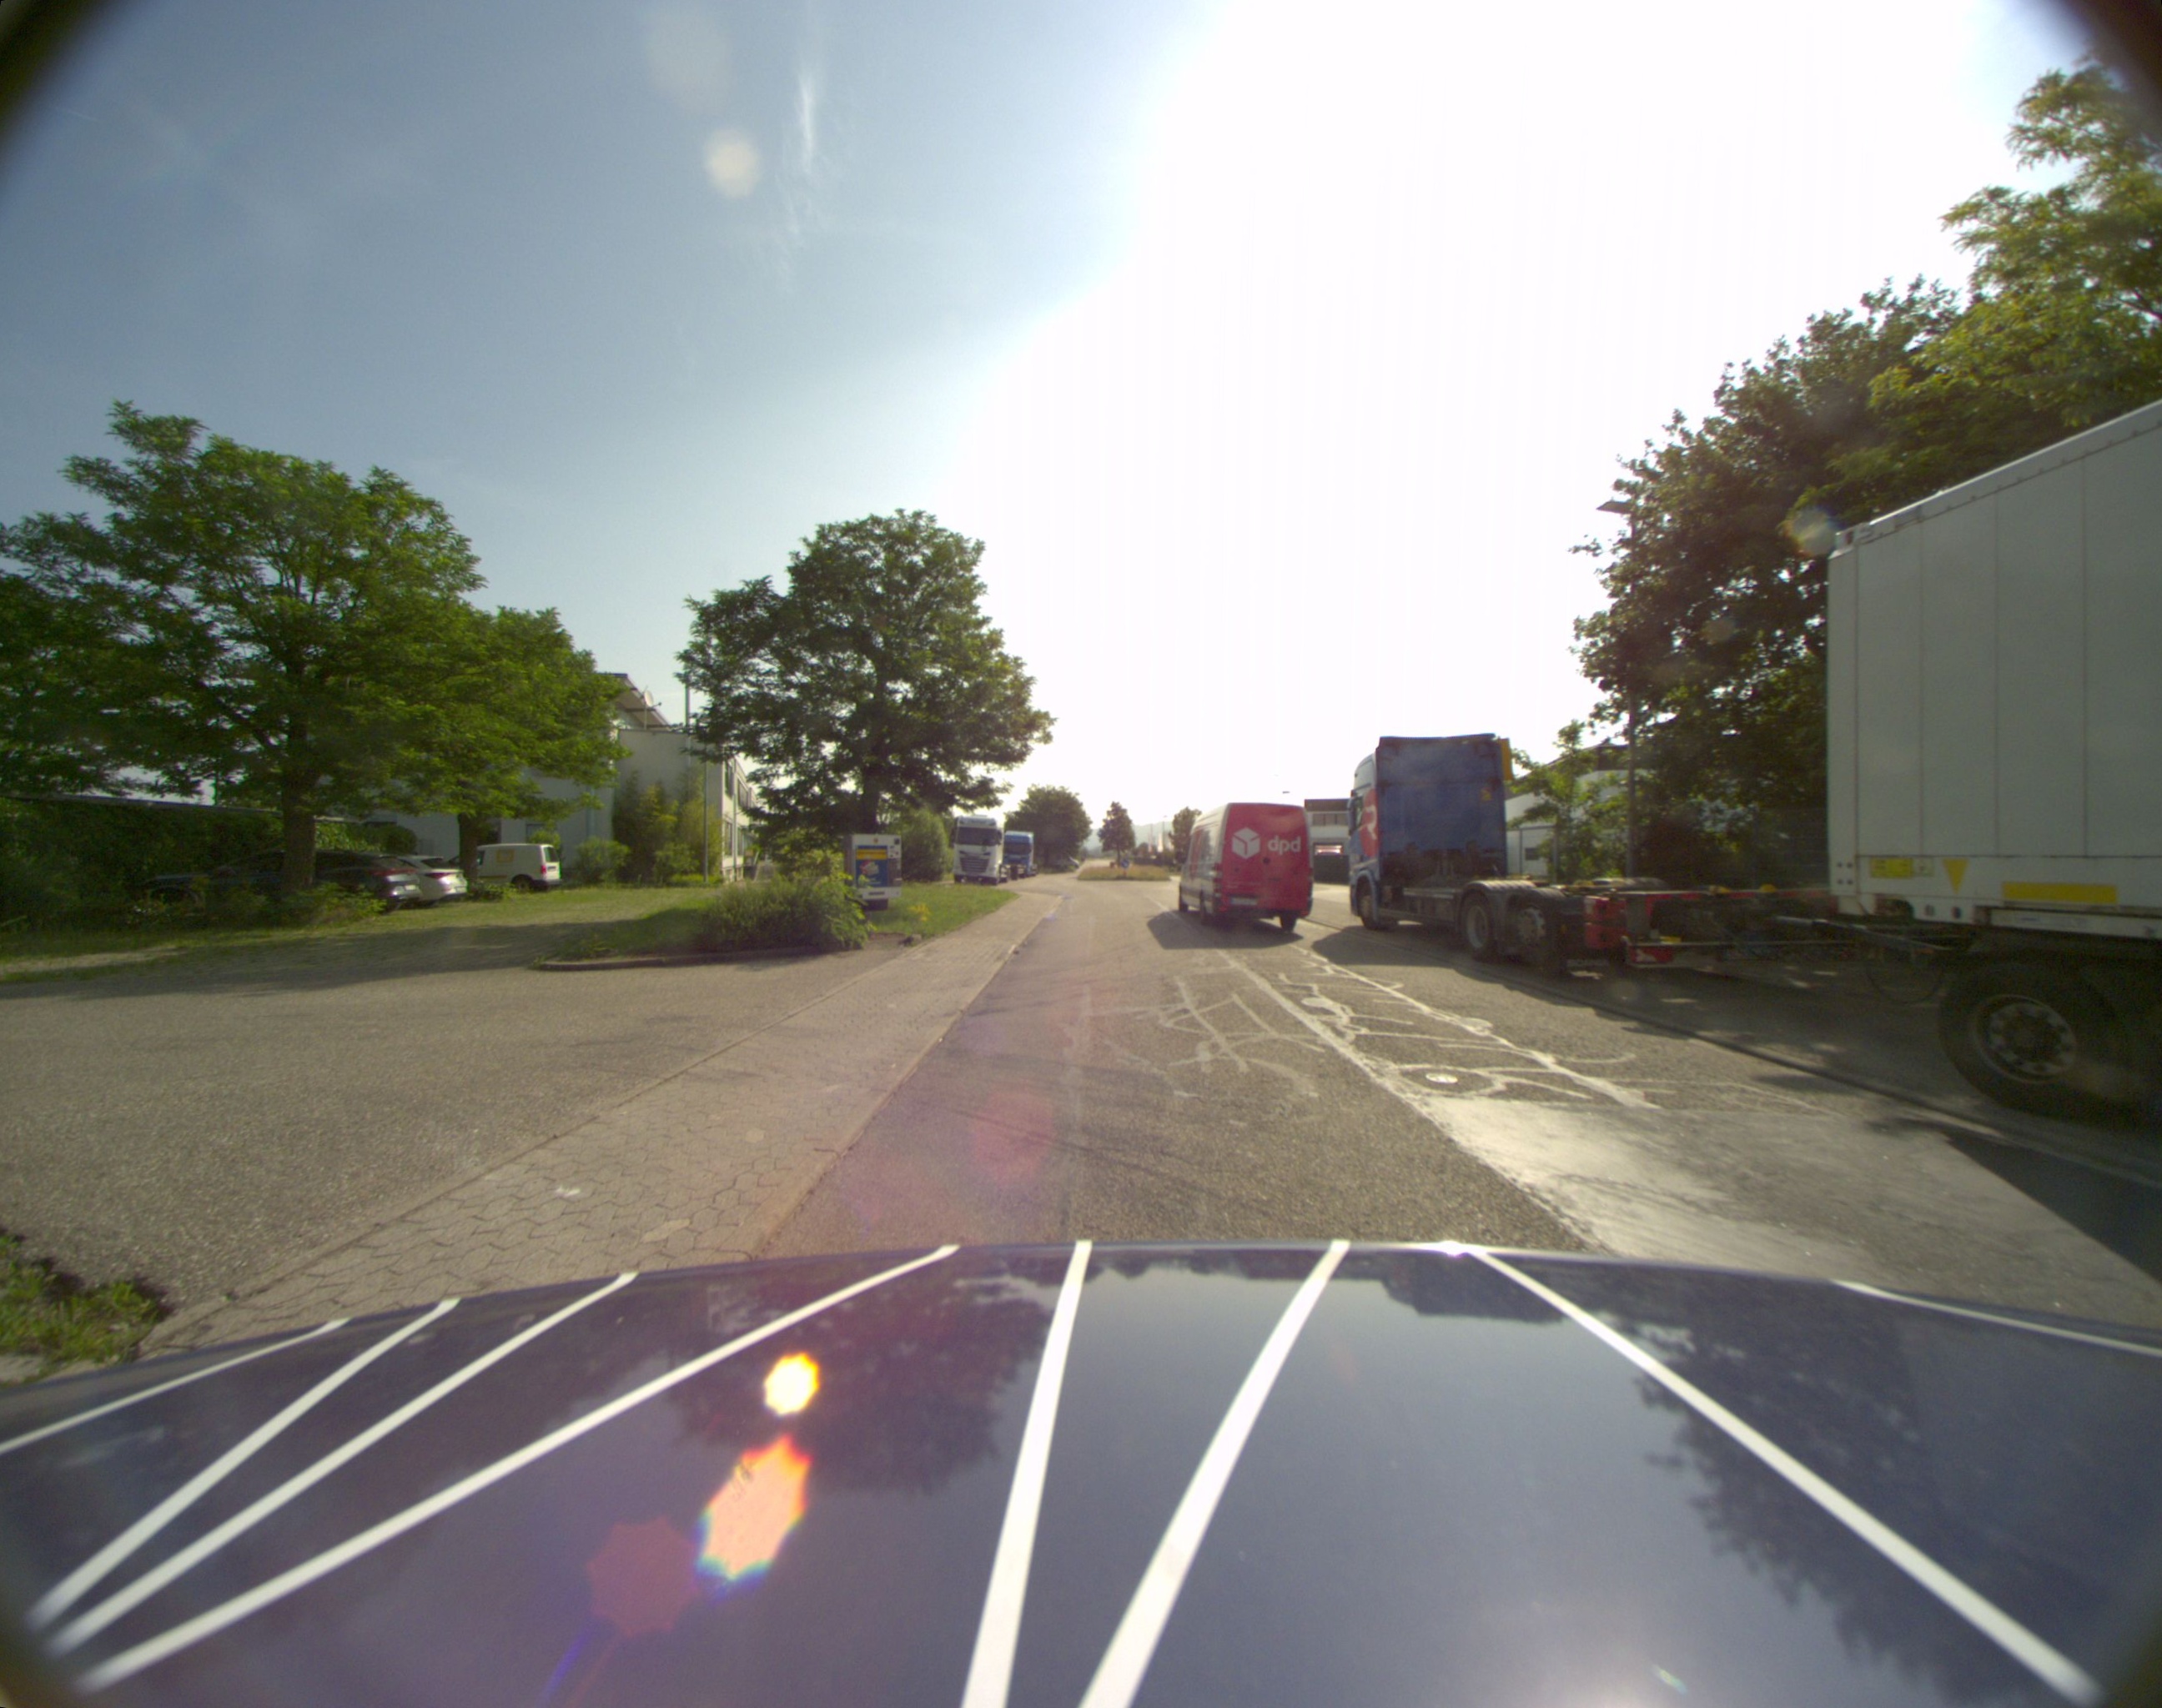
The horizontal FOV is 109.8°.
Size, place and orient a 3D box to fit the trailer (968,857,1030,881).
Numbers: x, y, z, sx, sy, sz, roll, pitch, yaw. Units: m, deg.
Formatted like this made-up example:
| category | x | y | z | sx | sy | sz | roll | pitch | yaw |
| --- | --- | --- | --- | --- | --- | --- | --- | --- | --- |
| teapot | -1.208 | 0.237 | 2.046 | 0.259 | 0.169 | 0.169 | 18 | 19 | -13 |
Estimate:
| category | x | y | z | sx | sy | sz | roll | pitch | yaw |
| --- | --- | --- | --- | --- | --- | --- | --- | --- | --- |
| trailer | -5.494 | 0.944 | 53.446 | 2.553 | 1.383 | 14.136 | 1 | 0 | 1 |

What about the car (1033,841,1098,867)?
| category | x | y | z | sx | sy | sz | roll | pitch | yaw |
| --- | --- | --- | --- | --- | --- | --- | --- | --- | --- |
| car | -2.029 | -0.014 | 96.819 | 8.151 | 3.217 | 2.663 | -1 | 0 | -4 |

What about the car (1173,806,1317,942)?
| category | x | y | z | sx | sy | sz | roll | pitch | yaw |
| --- | --- | --- | --- | --- | --- | --- | --- | --- | --- |
| car | 3.545 | 0.389 | 17.959 | 1.998 | 2.532 | 6.990 | 1 | 0 | 2 |

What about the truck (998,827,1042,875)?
| category | x | y | z | sx | sy | sz | roll | pitch | yaw |
| --- | --- | --- | --- | --- | --- | --- | --- | --- | --- |
| truck | -5.310 | -0.178 | 67.822 | 3.043 | 3.916 | 10.578 | 1 | 0 | 0 |

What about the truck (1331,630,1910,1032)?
| category | x | y | z | sx | sy | sz | roll | pitch | yaw |
| --- | --- | --- | --- | --- | --- | --- | --- | --- | --- |
| truck | 6.818 | -0.218 | 12.201 | 2.719 | 3.861 | 9.637 | -1 | 0 | 2 |

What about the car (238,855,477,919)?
| category | x | y | z | sx | sy | sz | roll | pitch | yaw |
| --- | --- | --- | --- | --- | --- | --- | --- | --- | --- |
| car | -18.428 | 0.796 | 19.594 | 4.045 | 1.397 | 1.739 | -2 | 1 | -19 |

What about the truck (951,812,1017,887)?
| category | x | y | z | sx | sy | sz | roll | pitch | yaw |
| --- | --- | --- | --- | --- | --- | --- | --- | --- | --- |
| truck | -5.613 | -0.246 | 45.600 | 2.559 | 3.958 | 8.581 | 2 | 0 | 1 |

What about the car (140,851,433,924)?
| category | x | y | z | sx | sy | sz | roll | pitch | yaw |
| --- | --- | --- | --- | --- | --- | --- | --- | --- | --- |
| car | -17.103 | 0.700 | 16.632 | 4.045 | 1.455 | 1.797 | 1 | 0 | -19 |

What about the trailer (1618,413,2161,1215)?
| category | x | y | z | sx | sy | sz | roll | pitch | yaw |
| --- | --- | --- | --- | --- | --- | --- | --- | --- | --- |
| trailer | 6.547 | -0.201 | 2.504 | 2.707 | 3.861 | 9.765 | -1 | 0 | 1 |

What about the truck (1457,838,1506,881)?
| category | x | y | z | sx | sy | sz | roll | pitch | yaw |
| --- | --- | --- | --- | --- | --- | --- | --- | --- | --- |
| truck | 39.564 | 0.544 | 75.378 | 2.902 | 4.032 | 9.253 | 1 | 0 | 20 |

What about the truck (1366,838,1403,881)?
| category | x | y | z | sx | sy | sz | roll | pitch | yaw |
| --- | --- | --- | --- | --- | --- | --- | --- | --- | --- |
| truck | 30.989 | 0.544 | 77.917 | 3.034 | 4.112 | 9.253 | 1 | 0 | 20 |

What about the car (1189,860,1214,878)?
| category | x | y | z | sx | sy | sz | roll | pitch | yaw |
| --- | --- | --- | --- | --- | --- | --- | --- | --- | --- |
| car | 11.297 | 1.389 | 71.613 | 1.735 | 1.573 | 3.967 | -1 | 0 | 1 |

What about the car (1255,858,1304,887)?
| category | x | y | z | sx | sy | sz | roll | pitch | yaw |
| --- | --- | --- | --- | --- | --- | --- | --- | --- | --- |
| car | 11.774 | 1.069 | 45.305 | 1.767 | 1.582 | 4.193 | -1 | 0 | 0 |

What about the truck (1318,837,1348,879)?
| category | x | y | z | sx | sy | sz | roll | pitch | yaw |
| --- | --- | --- | --- | --- | --- | --- | --- | --- | --- |
| truck | 25.730 | 0.423 | 77.443 | 2.653 | 3.955 | 9.253 | 1 | 0 | 20 |

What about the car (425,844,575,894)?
| category | x | y | z | sx | sy | sz | roll | pitch | yaw |
| --- | --- | --- | --- | --- | --- | --- | --- | --- | --- |
| car | -20.866 | 0.524 | 27.468 | 3.916 | 1.740 | 1.750 | 0 | 0 | -17 |
